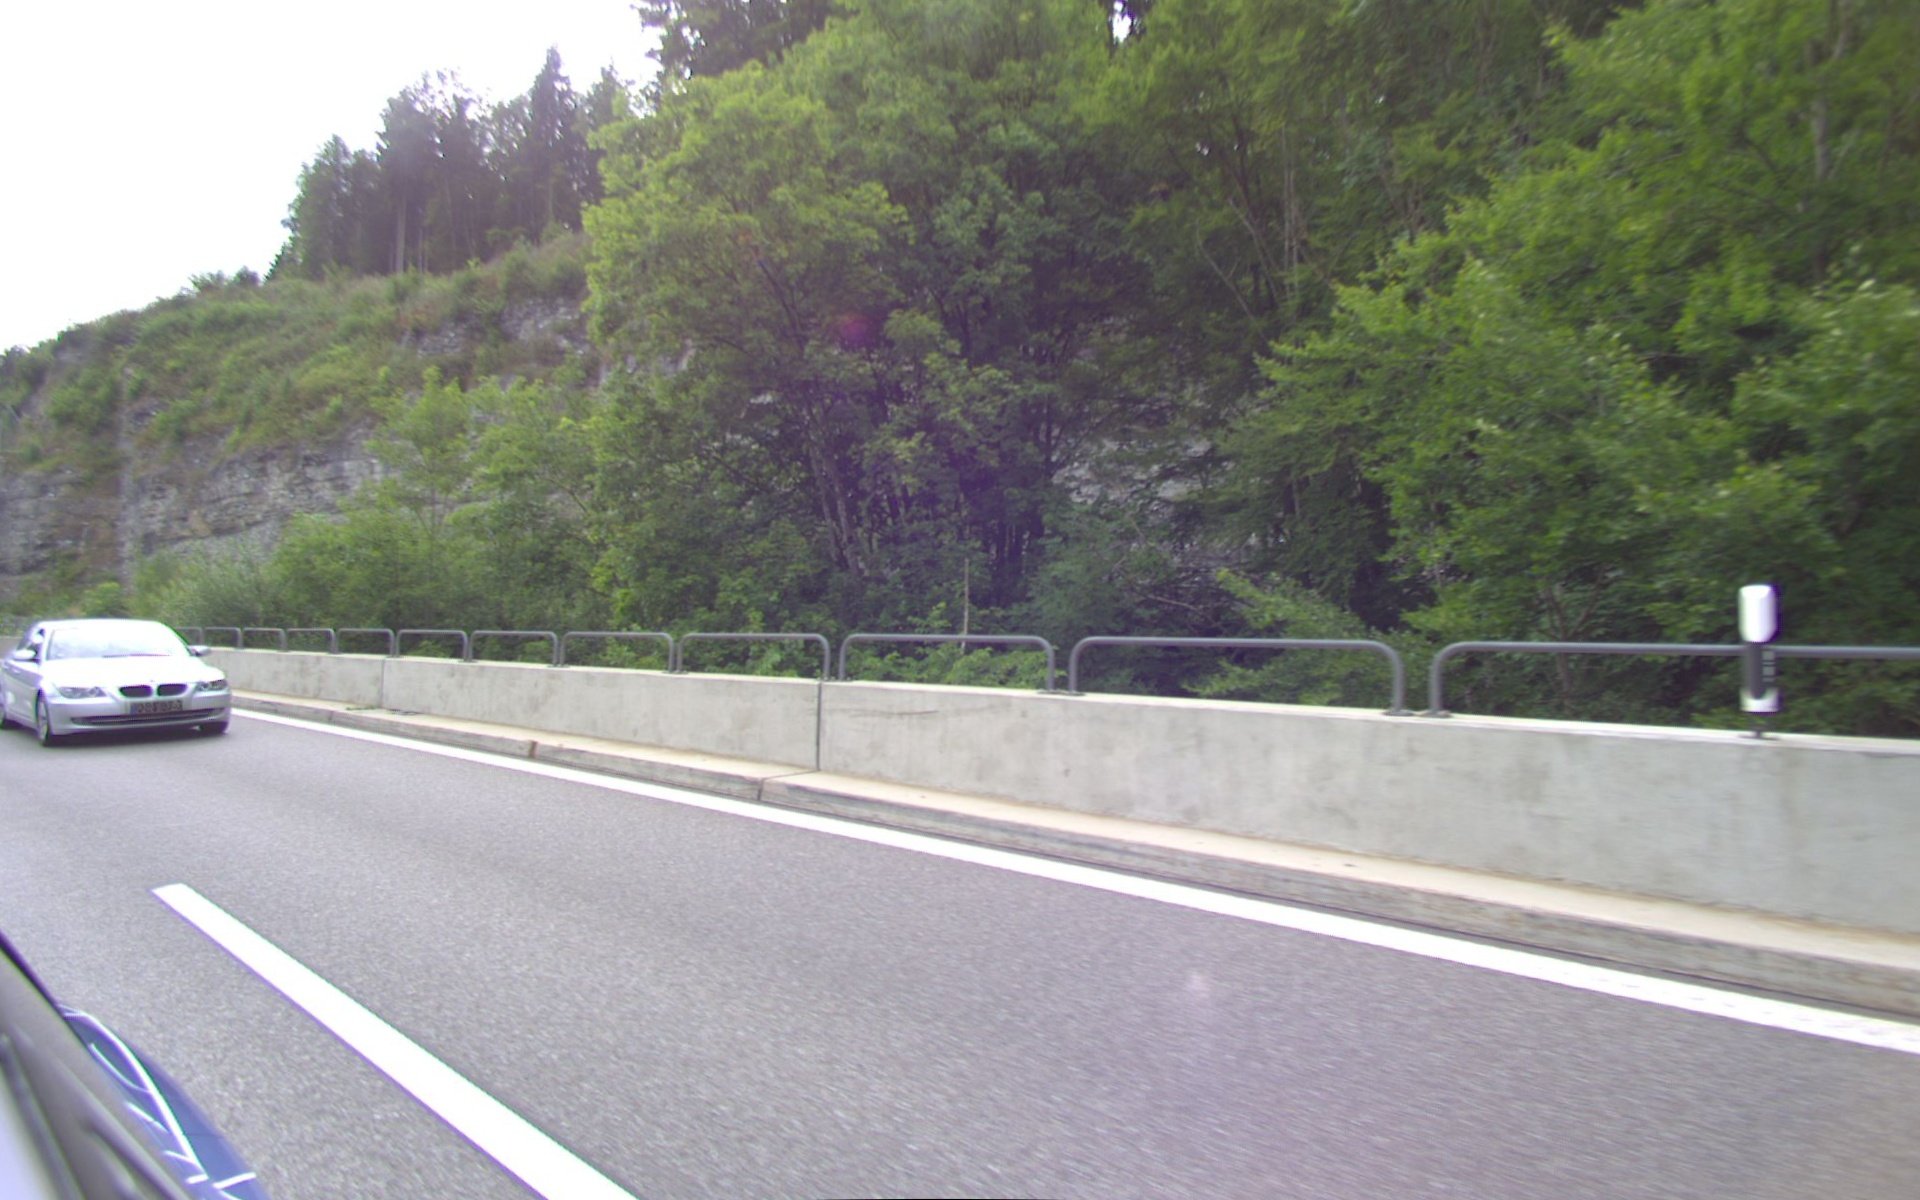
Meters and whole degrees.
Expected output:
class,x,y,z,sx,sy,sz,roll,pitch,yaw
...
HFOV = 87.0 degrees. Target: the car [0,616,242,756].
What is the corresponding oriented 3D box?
class,x,y,z,sx,sy,sz,roll,pitch,yaw
car,-11.201,0.982,13.183,5.131,1.468,1.809,-1,-1,40
